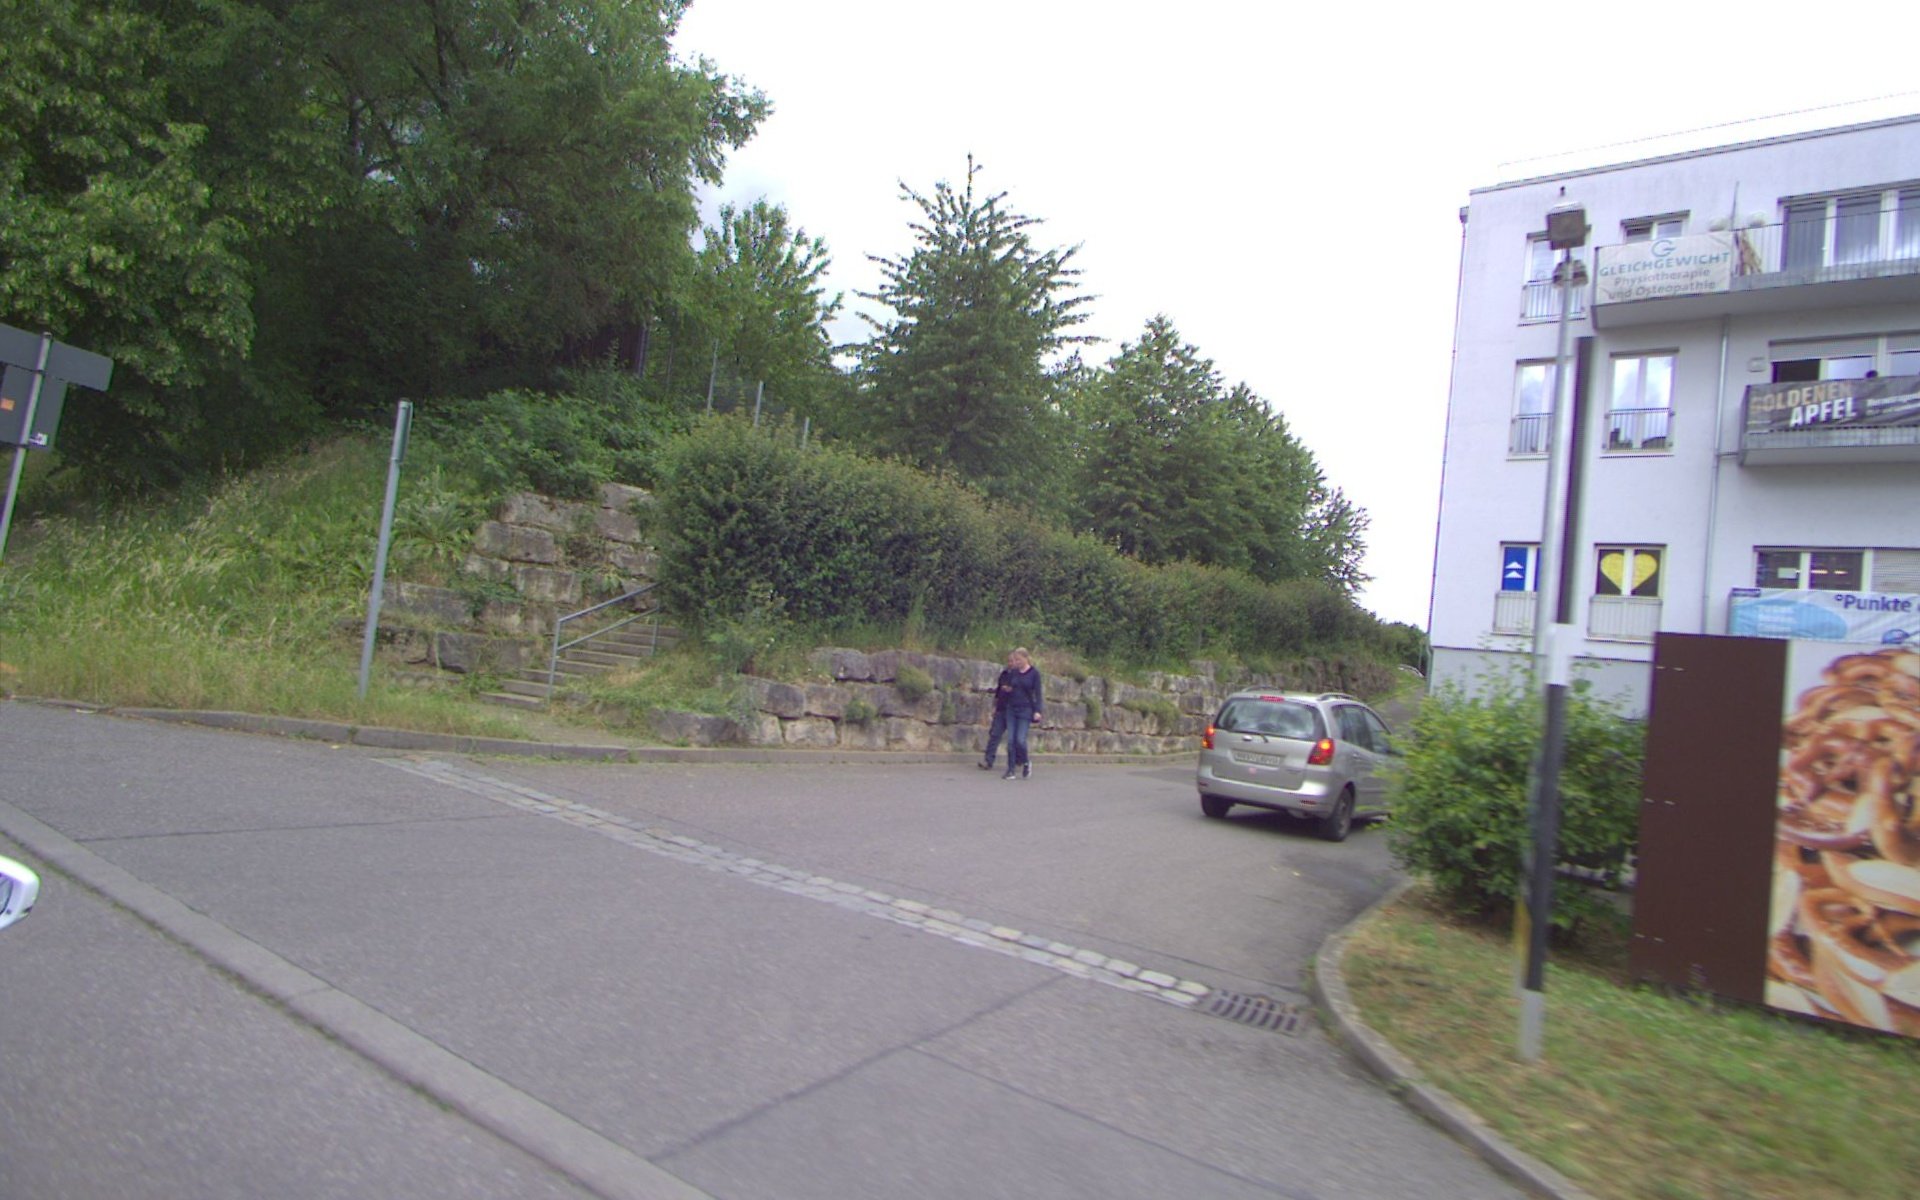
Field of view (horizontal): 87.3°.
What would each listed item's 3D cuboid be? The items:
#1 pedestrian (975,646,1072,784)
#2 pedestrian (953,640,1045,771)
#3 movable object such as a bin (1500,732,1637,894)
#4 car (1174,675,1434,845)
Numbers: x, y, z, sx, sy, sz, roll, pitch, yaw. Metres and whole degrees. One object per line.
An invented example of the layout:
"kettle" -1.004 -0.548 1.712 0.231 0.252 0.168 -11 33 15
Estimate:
"pedestrian" 0.843 1.515 13.297 0.793 1.677 0.731 7 -2 38
"pedestrian" 0.560 1.494 14.288 0.793 1.708 0.790 7 -2 38
"movable object such as a bin" 6.501 2.214 10.751 1.040 1.430 1.247 7 -2 33
"car" 4.536 1.982 12.834 1.762 1.611 4.242 4 -4 38
